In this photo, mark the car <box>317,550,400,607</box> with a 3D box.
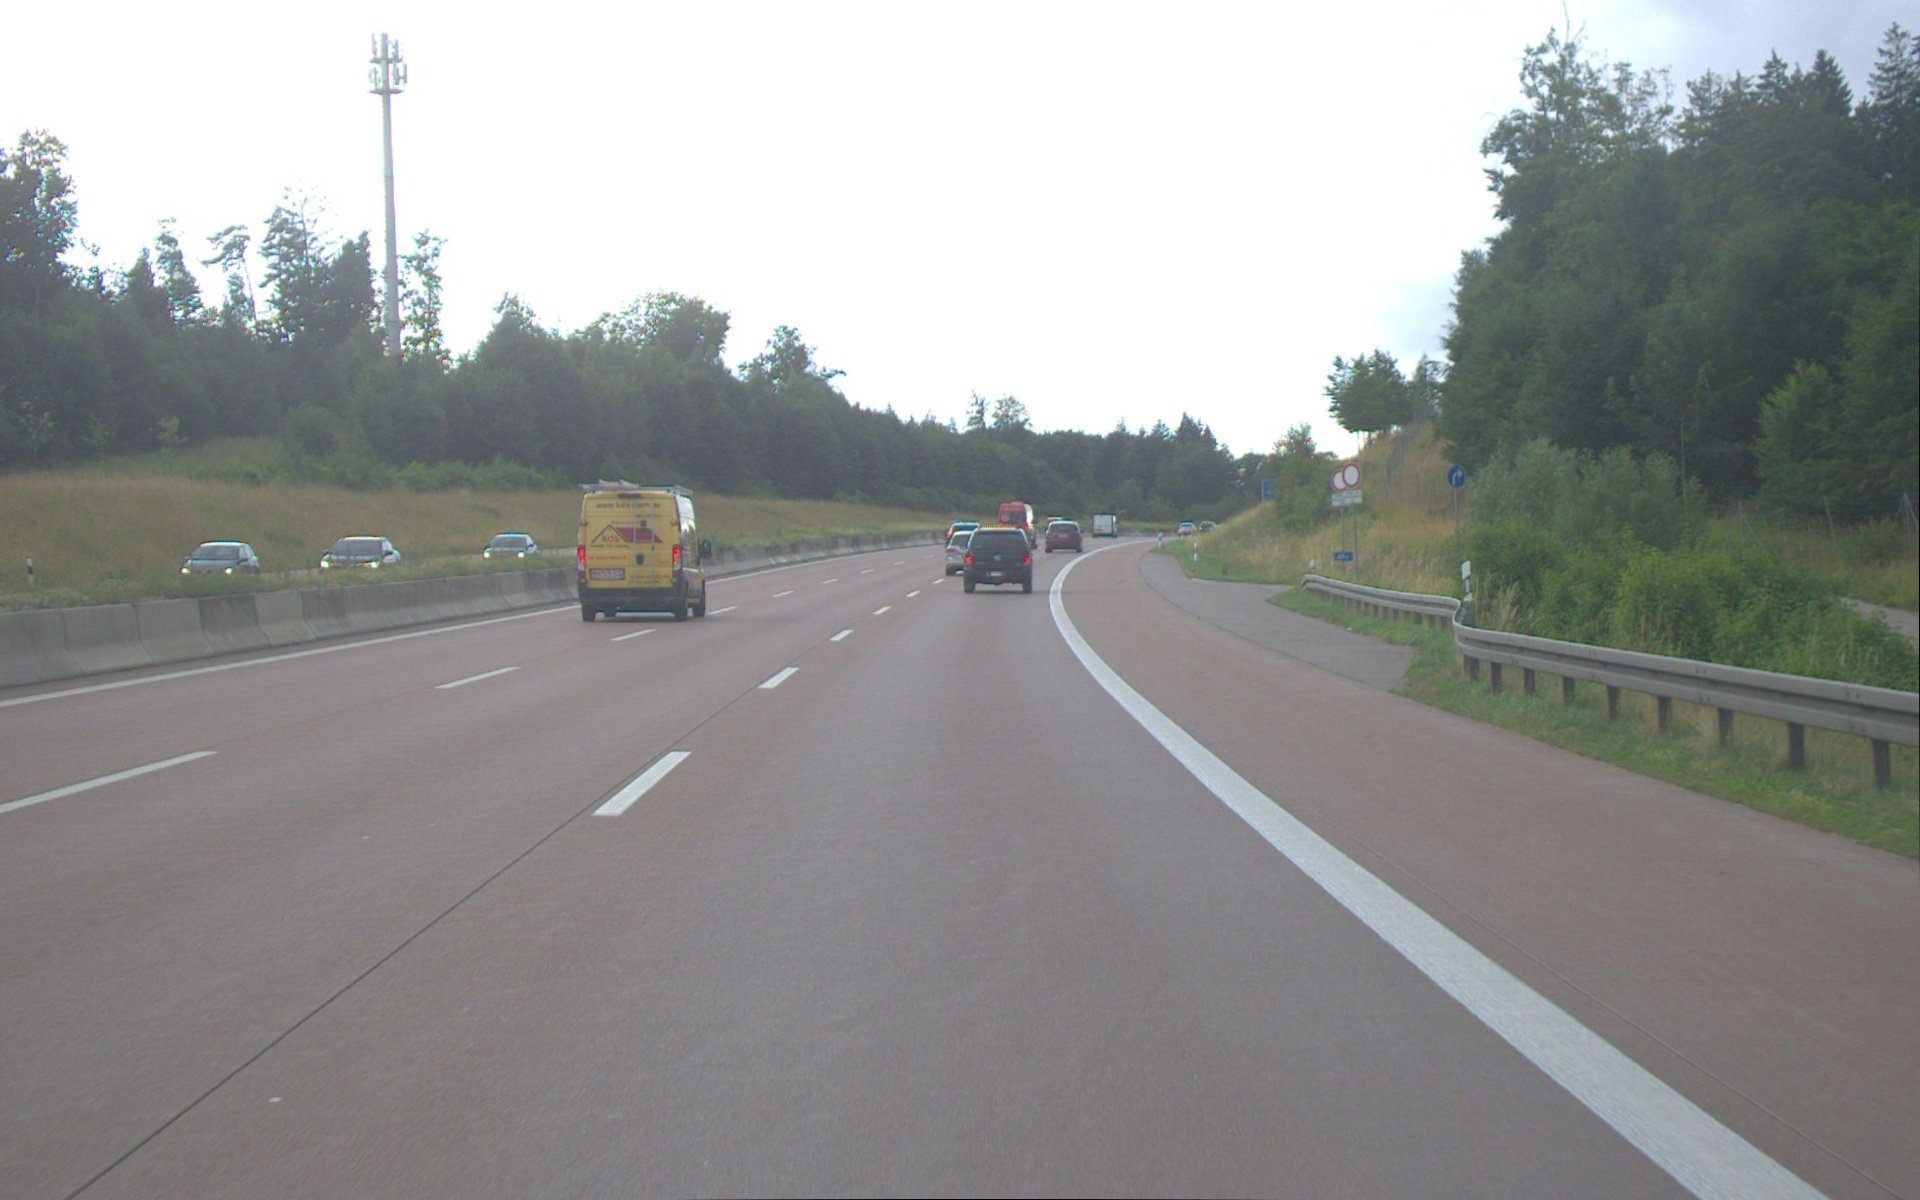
[{"bbox_3d":[-18.065,-0.634,103.398,1.762,1.633,4.381,1,0,-1],"label":"car"}]

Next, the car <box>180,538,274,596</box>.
[{"bbox_3d":[-21.654,-0.969,101.707,1.762,1.633,4.380,1,0,1],"label":"car"}]

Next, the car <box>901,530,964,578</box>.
[{"bbox_3d":[-0.965,-1.630,122.908,1.978,1.642,4.619,-1,0,3],"label":"car"}]

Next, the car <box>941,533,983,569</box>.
[{"bbox_3d":[0.068,-2.361,166.291,1.977,1.642,4.619,-1,0,0],"label":"car"}]

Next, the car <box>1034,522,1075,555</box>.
[{"bbox_3d":[4.982,-3.264,181.864,1.977,1.642,4.619,-1,0,0],"label":"car"}]

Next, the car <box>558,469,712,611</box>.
[{"bbox_3d":[-6.400,-1.148,68.328,2.458,2.697,5.613,-1,0,1],"label":"car"}]

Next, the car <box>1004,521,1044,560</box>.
[{"bbox_3d":[4.116,-3.824,220.789,2.241,2.422,6.204,-2,1,4],"label":"car"}]

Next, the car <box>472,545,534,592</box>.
[{"bbox_3d":[-17.866,-1.245,134.594,1.807,1.809,4.000,0,1,1],"label":"car"}]

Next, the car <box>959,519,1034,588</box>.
[{"bbox_3d":[1.019,-1.309,96.606,2.044,1.890,5.577,0,1,1],"label":"car"}]
